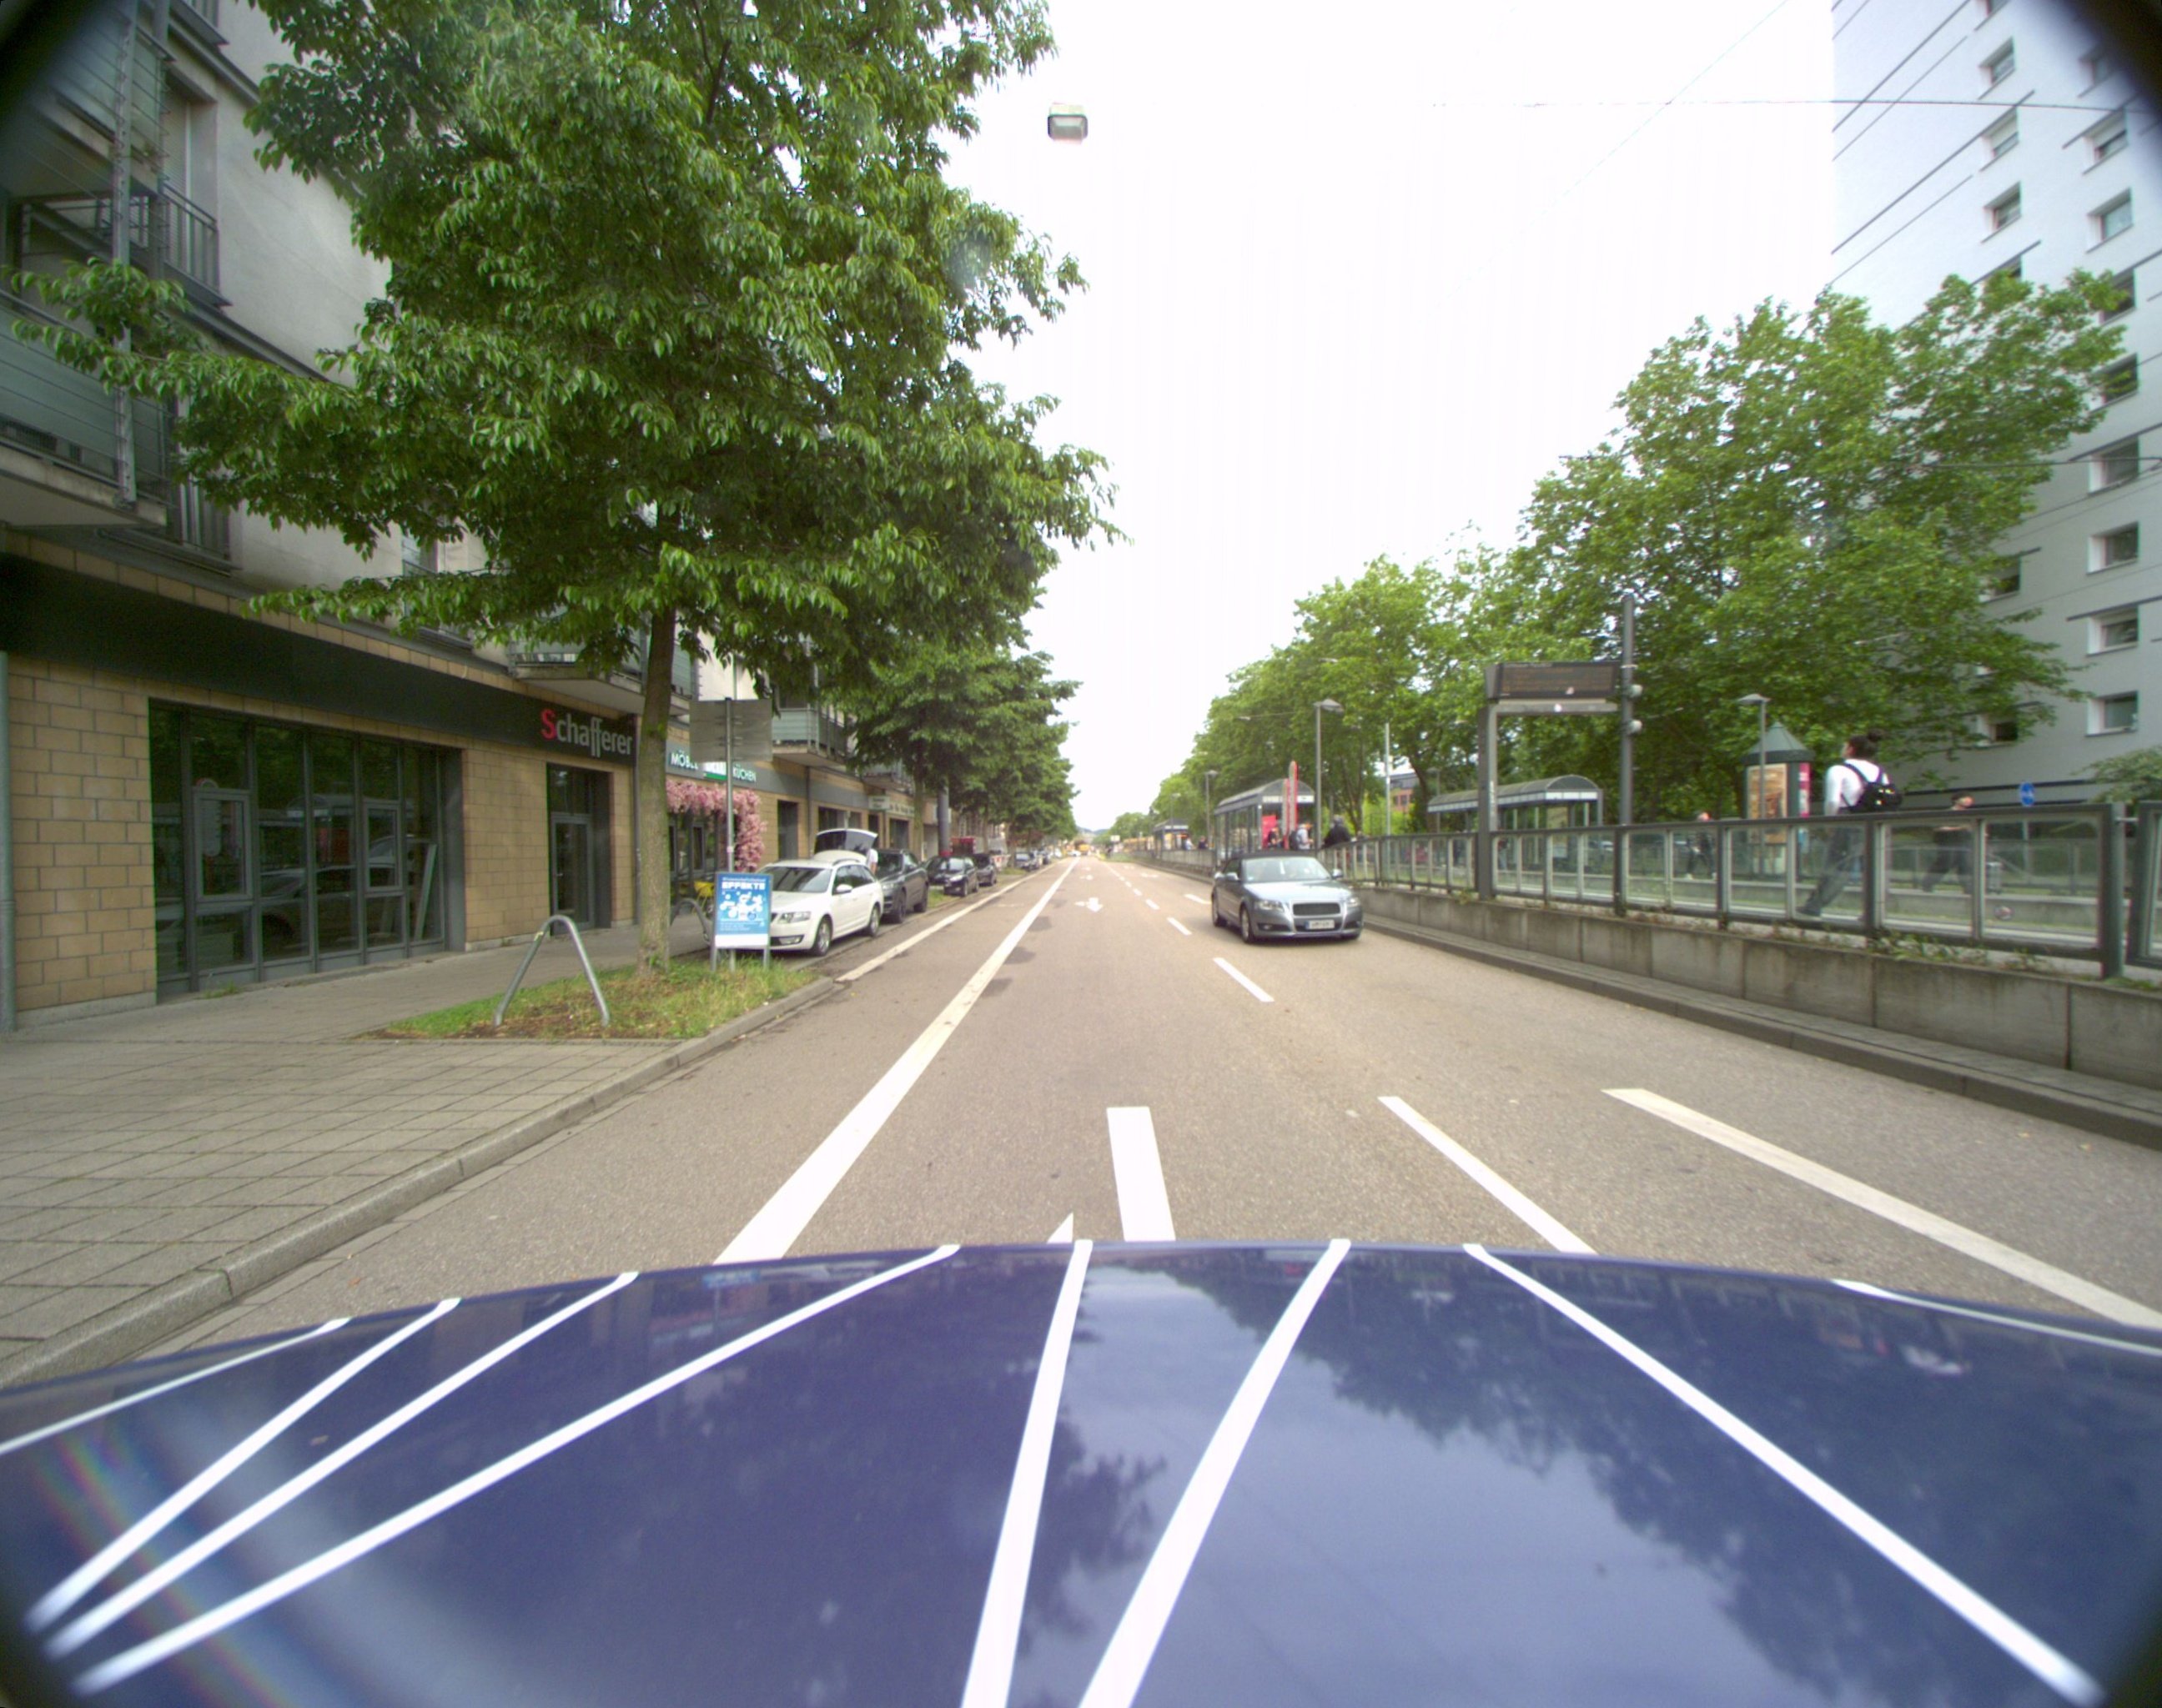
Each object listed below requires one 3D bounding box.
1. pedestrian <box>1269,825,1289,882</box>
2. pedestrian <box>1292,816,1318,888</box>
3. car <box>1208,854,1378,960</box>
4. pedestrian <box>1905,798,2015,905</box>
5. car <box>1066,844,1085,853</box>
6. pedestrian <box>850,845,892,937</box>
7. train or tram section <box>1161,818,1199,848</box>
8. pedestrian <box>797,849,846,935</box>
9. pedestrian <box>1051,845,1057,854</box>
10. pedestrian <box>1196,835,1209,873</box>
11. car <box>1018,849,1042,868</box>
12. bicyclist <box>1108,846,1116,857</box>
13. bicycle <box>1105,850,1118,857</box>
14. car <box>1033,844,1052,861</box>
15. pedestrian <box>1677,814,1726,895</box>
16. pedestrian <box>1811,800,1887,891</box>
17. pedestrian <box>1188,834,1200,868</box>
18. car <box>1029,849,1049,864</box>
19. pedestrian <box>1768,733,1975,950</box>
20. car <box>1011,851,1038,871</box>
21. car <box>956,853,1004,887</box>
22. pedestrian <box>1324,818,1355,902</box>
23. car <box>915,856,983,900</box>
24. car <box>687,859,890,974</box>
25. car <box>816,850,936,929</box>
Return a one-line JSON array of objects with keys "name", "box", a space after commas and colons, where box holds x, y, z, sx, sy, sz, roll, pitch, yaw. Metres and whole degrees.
[{"name": "pedestrian", "box": [6.310, -0.025, 24.212, 0.474, 1.794, 0.606, -2, 1, 26]}, {"name": "pedestrian", "box": [5.745, -0.061, 19.495, 0.475, 1.794, 0.605, -2, 1, 5]}, {"name": "car", "box": [3.320, 0.753, 12.726, 1.716, 1.379, 4.099, -2, 1, 1]}, {"name": "pedestrian", "box": [15.085, -0.038, 13.066, 0.882, 1.746, 0.850, -2, 1, 1]}, {"name": "car", "box": [-1.341, -1.296, 181.750, 4.186, 2.002, 2.004, -1, 1, 44]}, {"name": "pedestrian", "box": [-4.346, 0.749, 15.780, 0.656, 1.873, 0.599, -1, 1, 1]}, {"name": "train or tram section", "box": [13.571, -2.804, 105.752, 3.338, 3.731, 15.201, -2, 1, 1]}, {"name": "pedestrian", "box": [-5.304, 0.751, 15.567, 0.737, 1.707, 0.618, 1, 1, 8]}, {"name": "pedestrian", "box": [-6.019, -0.926, 169.364, 1.216, 2.002, 1.143, -1, 1, 1]}, {"name": "pedestrian", "box": [5.845, 0.002, 36.536, 0.530, 1.794, 0.606, -2, 1, 14]}, {"name": "car", "box": [-4.125, 0.365, 62.177, 1.612, 1.393, 3.667, 2, 1, 1]}, {"name": "bicyclist", "box": [4.006, -0.309, 98.049, 0.810, 1.458, 0.728, 0, 1, 35]}, {"name": "bicycle", "box": [3.934, -0.075, 98.120, 1.777, 0.925, 0.492, -2, 1, 35]}, {"name": "car", "box": [-3.964, -0.141, 78.234, 1.612, 1.674, 3.806, 2, 1, 1]}, {"name": "pedestrian", "box": [15.047, 0.002, 18.441, 0.699, 1.919, 0.554, -2, 1, 1]}, {"name": "pedestrian", "box": [15.948, -0.174, 15.795, 0.882, 1.823, 0.666, -2, 1, 1]}, {"name": "pedestrian", "box": [6.138, -0.176, 41.353, 0.530, 1.794, 0.606, -2, 1, 14]}, {"name": "car", "box": [-3.970, 0.209, 72.464, 1.612, 1.393, 3.667, 2, 1, 1]}, {"name": "pedestrian", "box": [6.600, -0.098, 6.407, 0.720, 1.661, 0.979, -2, 1, 3]}, {"name": "car", "box": [-4.165, 0.480, 56.278, 1.612, 1.393, 3.667, 2, 1, 1]}, {"name": "car", "box": [-4.559, 0.685, 34.750, 1.612, 1.393, 3.667, 2, 1, 1]}, {"name": "pedestrian", "box": [5.632, 0.125, 16.590, 0.521, 1.794, 0.605, -2, 1, 13]}, {"name": "car", "box": [-4.640, 0.795, 27.288, 1.612, 1.370, 4.167, 2, 1, 1]}, {"name": "car", "box": [-4.722, 0.902, 13.014, 1.738, 1.512, 4.308, 2, 1, 1]}, {"name": "car", "box": [-4.718, 0.743, 18.016, 1.738, 1.601, 3.798, 2, 1, 1]}]
